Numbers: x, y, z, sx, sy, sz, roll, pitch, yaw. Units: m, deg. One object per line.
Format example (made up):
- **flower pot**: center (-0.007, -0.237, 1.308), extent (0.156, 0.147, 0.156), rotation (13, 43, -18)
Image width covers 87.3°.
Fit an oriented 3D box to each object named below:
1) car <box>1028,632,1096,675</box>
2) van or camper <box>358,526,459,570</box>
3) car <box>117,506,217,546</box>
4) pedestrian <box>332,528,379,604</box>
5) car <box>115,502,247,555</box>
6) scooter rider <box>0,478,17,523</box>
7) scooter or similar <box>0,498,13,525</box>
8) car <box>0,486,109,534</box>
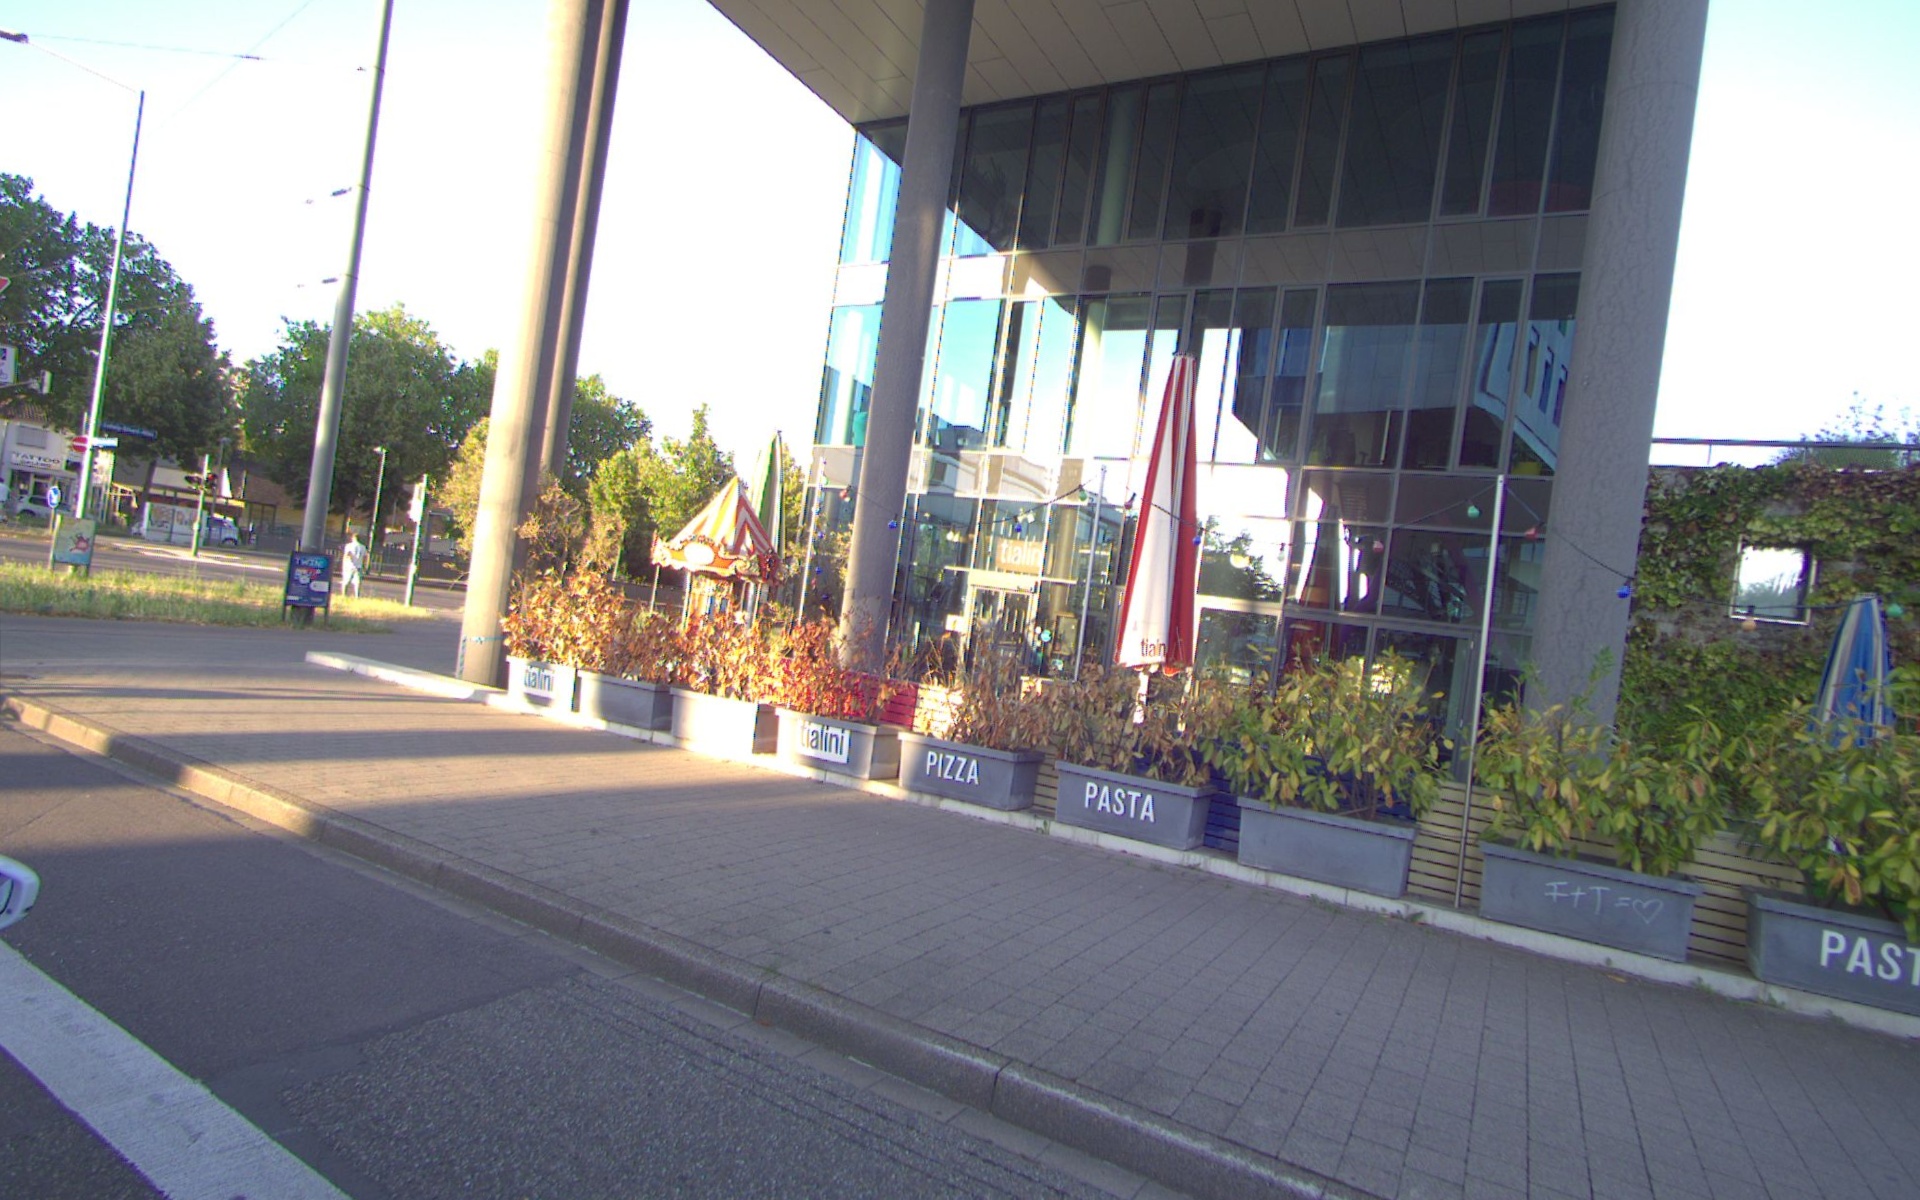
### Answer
- **car**: center (5.727, 2.999, 55.934), extent (1.826, 1.849, 4.390), rotation (10, 0, 31)
- **van or camper**: center (-43.975, -4.116, 80.429), extent (2.229, 2.438, 6.569), rotation (7, -2, 36)
- **car**: center (-47.705, -4.419, 60.565), extent (1.968, 1.595, 4.236), rotation (7, -2, 34)
- **pedestrian**: center (-15.571, -0.879, 25.915), extent (0.758, 1.812, 0.794), rotation (8, -1, -38)
- **car**: center (-37.378, -3.408, 48.430), extent (1.829, 1.748, 4.547), rotation (7, -2, 27)
- **scooter rider**: center (-41.578, -4.341, 43.585), extent (0.658, 1.876, 0.703), rotation (7, -1, 31)
- **scooter or similar**: center (-41.682, -3.859, 43.603), extent (1.222, 1.103, 0.511), rotation (7, -1, 32)
- **car**: center (-50.542, -4.990, 56.070), extent (1.968, 1.868, 4.236), rotation (7, -2, 34)
